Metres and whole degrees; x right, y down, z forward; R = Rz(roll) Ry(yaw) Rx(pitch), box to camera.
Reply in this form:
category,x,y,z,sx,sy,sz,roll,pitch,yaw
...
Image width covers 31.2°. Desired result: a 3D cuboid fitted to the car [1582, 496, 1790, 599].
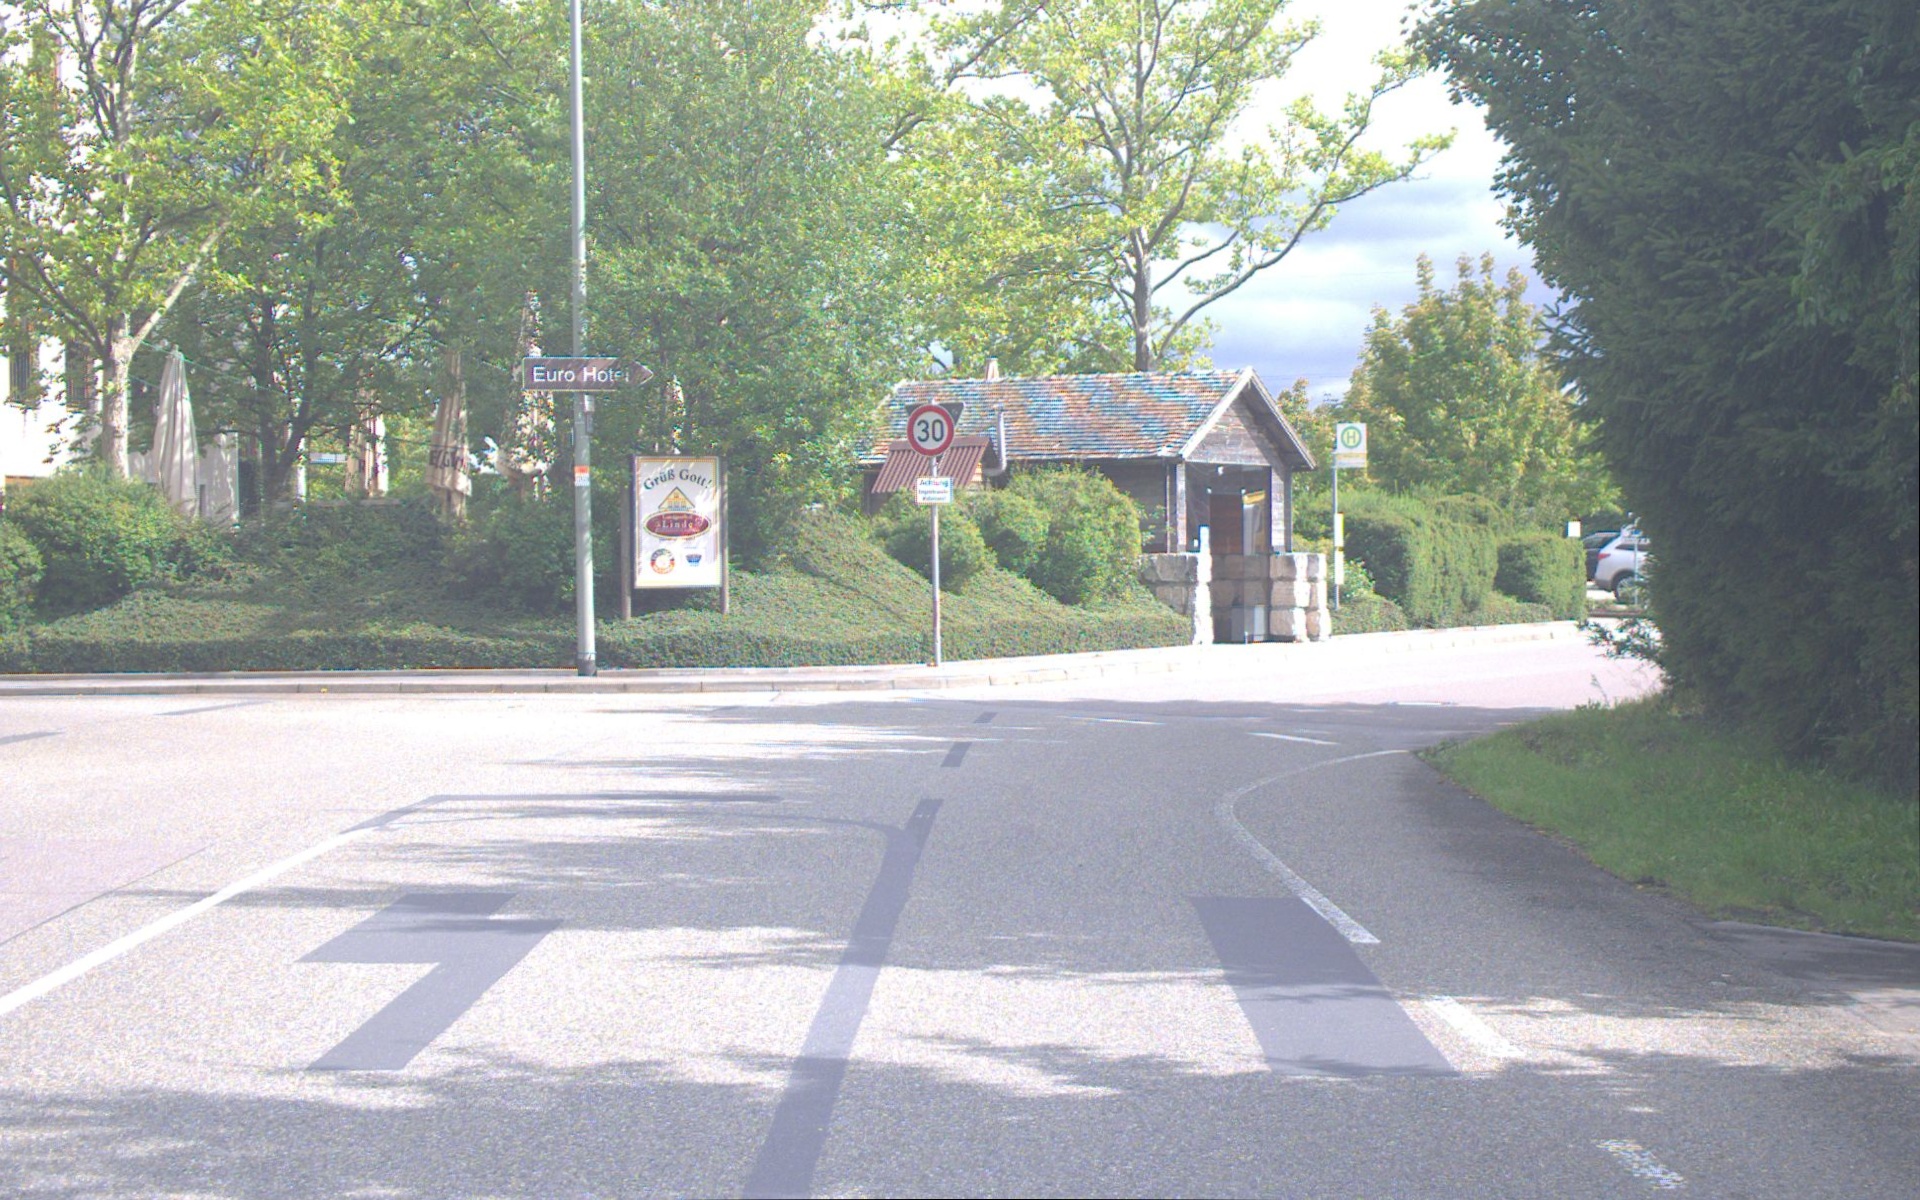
category,x,y,z,sx,sy,sz,roll,pitch,yaw
car,15.353,-1.101,72.673,3.991,2.116,1.959,0,1,23
